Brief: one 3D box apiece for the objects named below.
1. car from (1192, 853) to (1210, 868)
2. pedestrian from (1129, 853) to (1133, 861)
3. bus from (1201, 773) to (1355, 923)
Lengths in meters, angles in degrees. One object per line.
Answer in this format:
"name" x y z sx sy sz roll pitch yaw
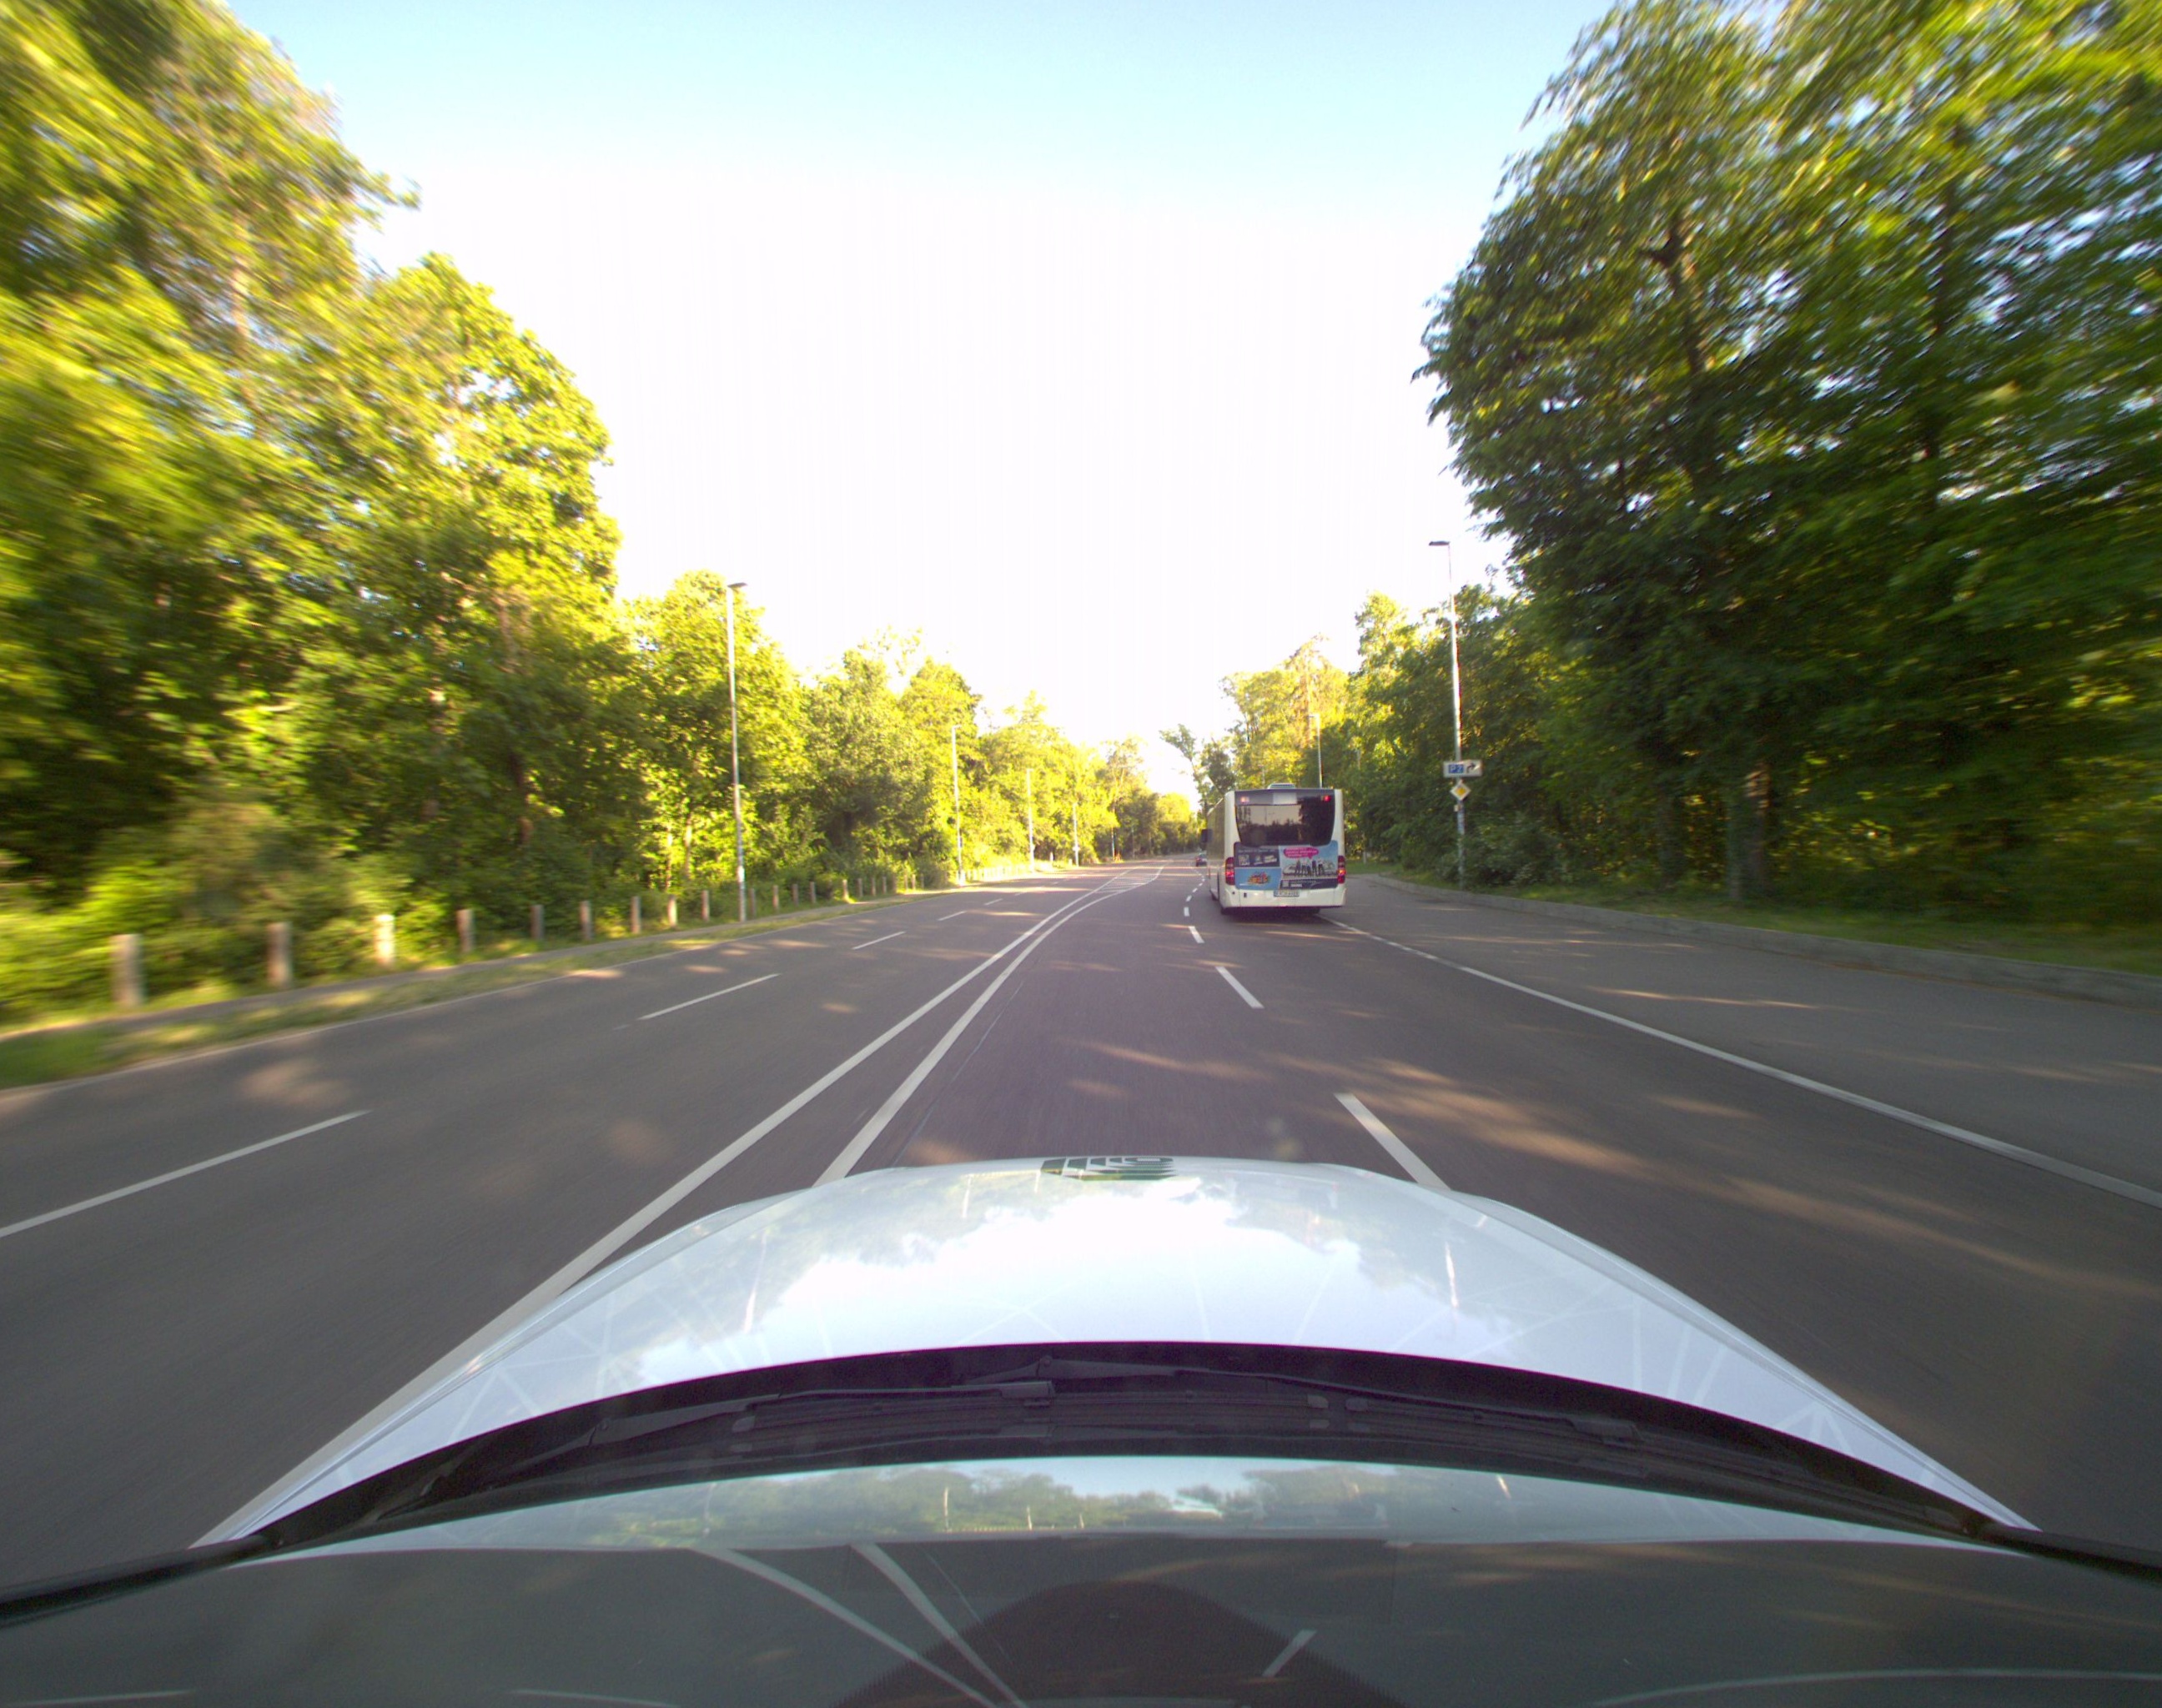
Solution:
"car" 12.690 0.677 86.169 1.621 1.547 4.145 -1 -1 11
"pedestrian" 10.681 0.601 172.596 0.775 1.812 0.772 -2 0 7
"bus" 4.954 -0.065 22.840 2.675 3.042 12.062 -1 -1 7
